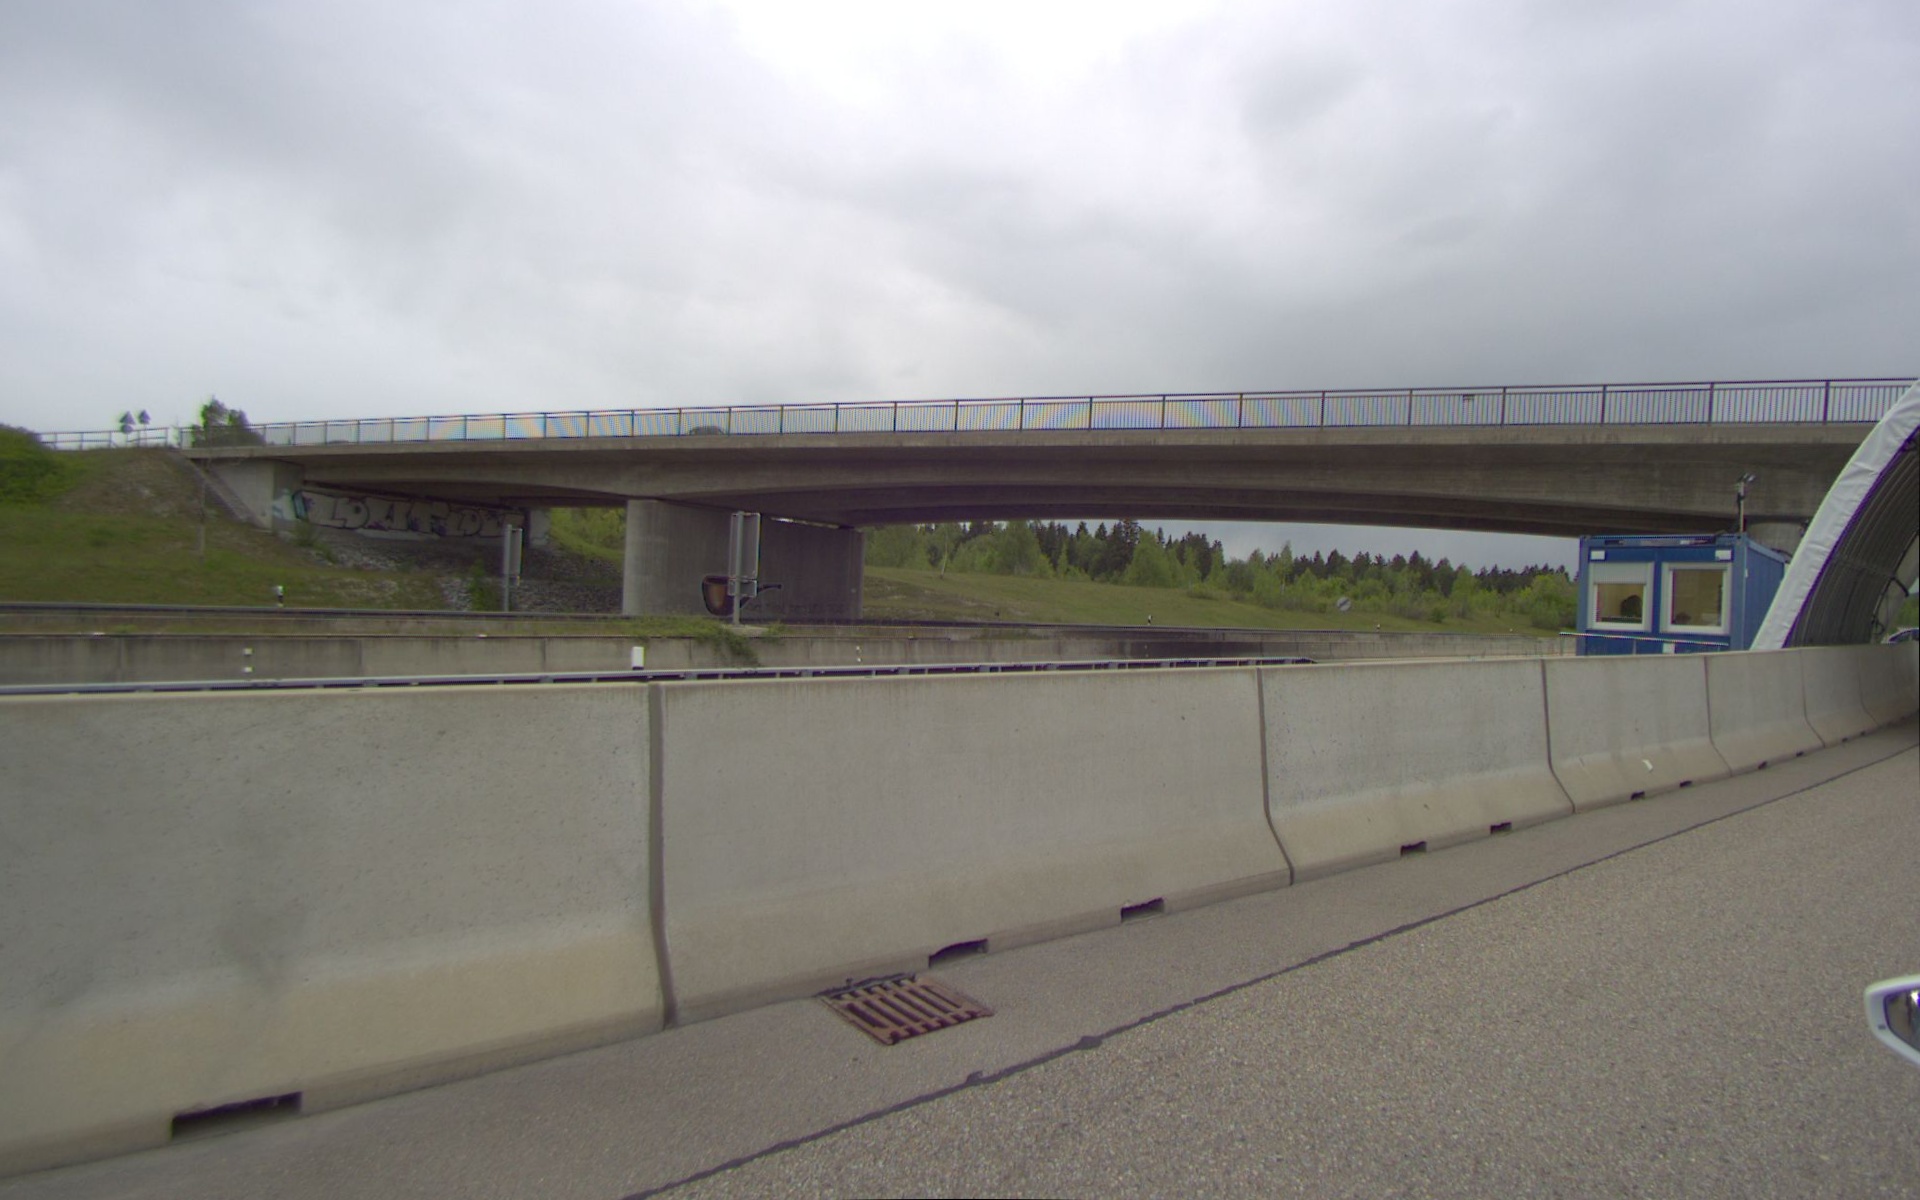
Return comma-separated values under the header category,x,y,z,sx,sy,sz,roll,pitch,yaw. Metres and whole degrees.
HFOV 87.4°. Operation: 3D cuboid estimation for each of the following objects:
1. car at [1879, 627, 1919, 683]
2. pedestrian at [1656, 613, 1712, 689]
category,x,y,z,sx,sy,sz,roll,pitch,yaw
car,36.706,2.054,36.339,1.814,2.040,4.797,2,-1,-22
pedestrian,13.634,0.956,18.914,0.618,1.391,0.609,2,-1,-21
